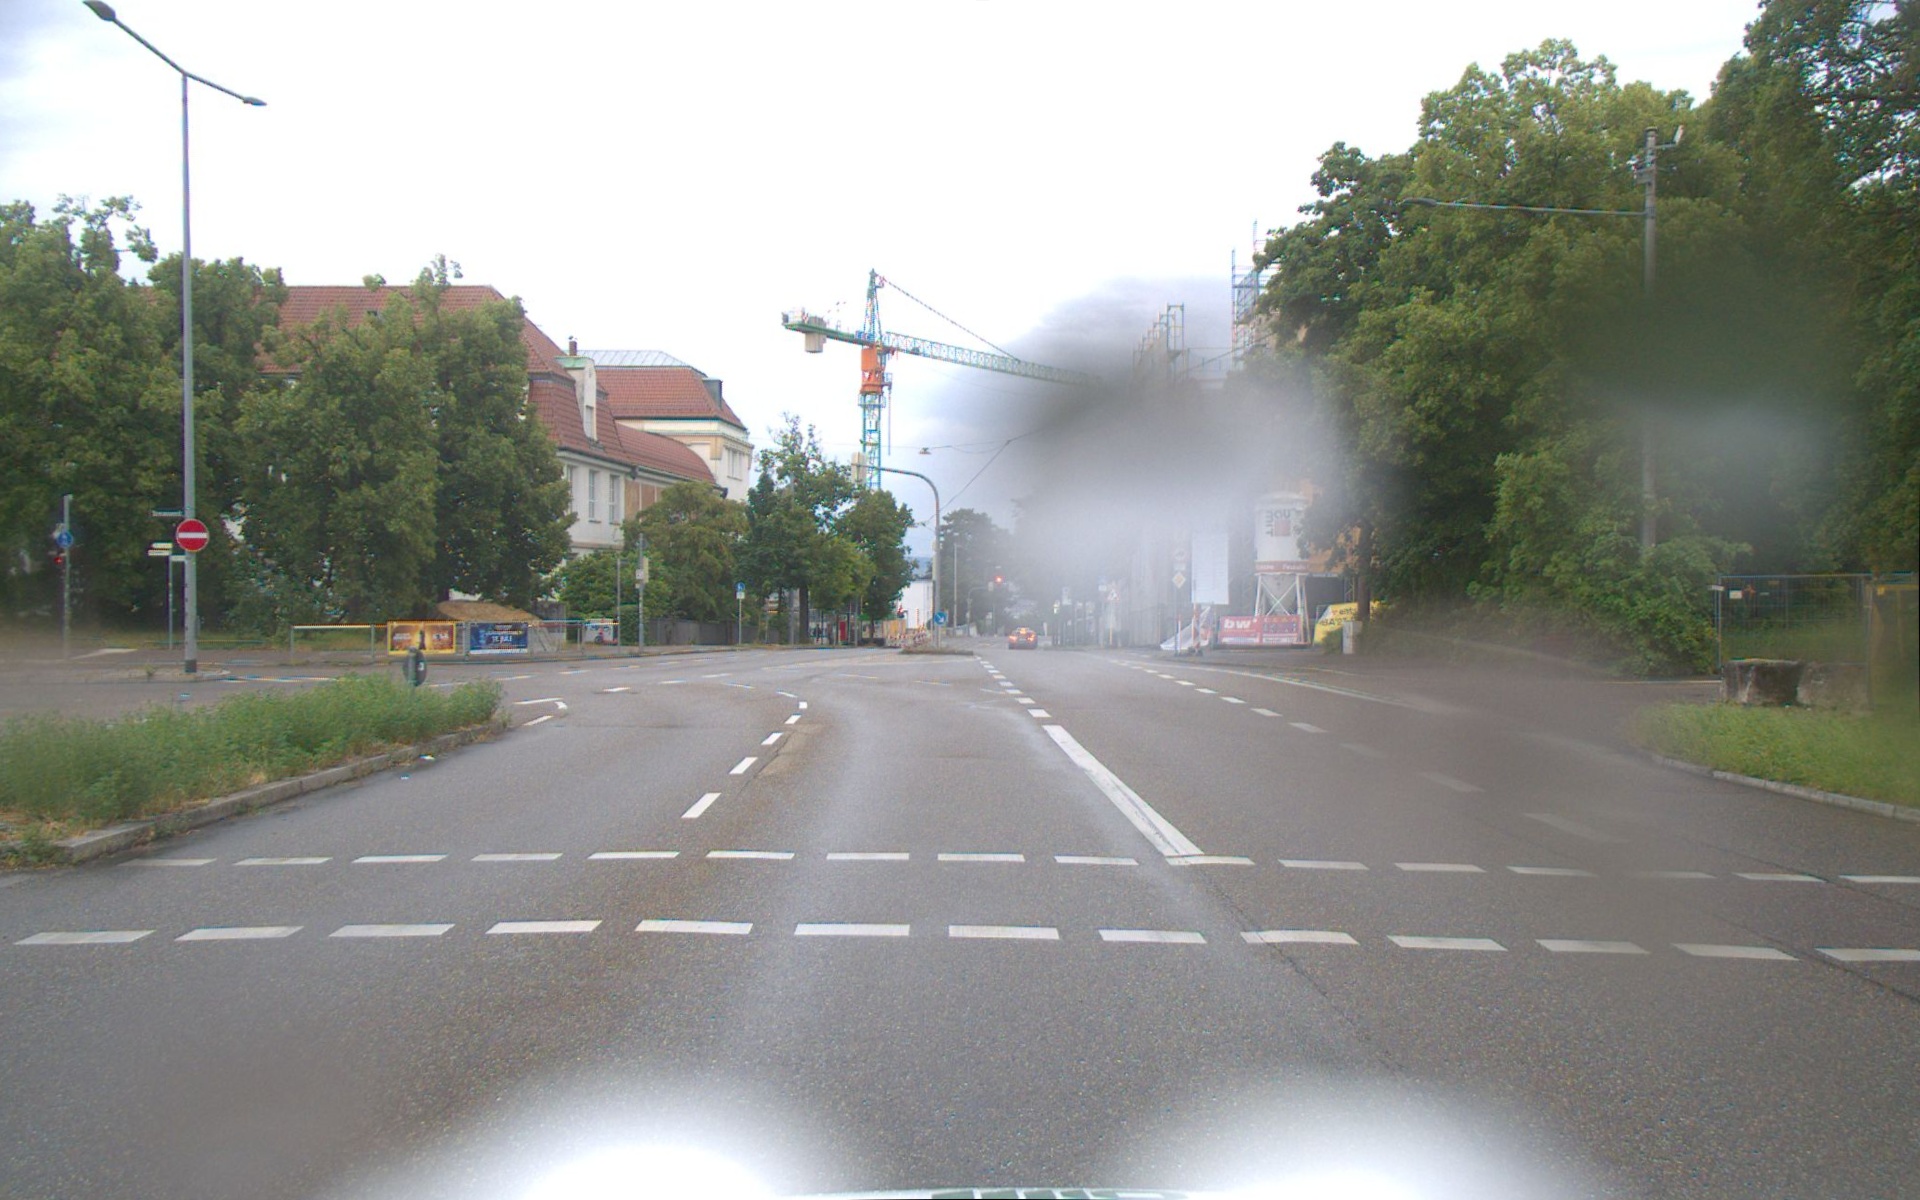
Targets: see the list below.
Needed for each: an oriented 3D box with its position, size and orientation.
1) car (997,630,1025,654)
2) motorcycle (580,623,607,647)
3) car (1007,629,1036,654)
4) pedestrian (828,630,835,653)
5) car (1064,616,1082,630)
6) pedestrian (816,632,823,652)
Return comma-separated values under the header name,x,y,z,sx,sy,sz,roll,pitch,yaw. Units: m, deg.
name,x,y,z,sx,sy,sz,roll,pitch,yaw
car,4.041,3.311,131.904,1.953,1.780,3.999,-1,0,-1
motorcycle,-14.276,1.361,64.436,0.832,0.893,0.877,1,0,-1
car,4.608,3.111,125.025,1.953,1.780,3.999,-1,0,-1
pedestrian,-9.599,3.073,123.285,0.484,1.674,0.533,1,-1,-7
car,14.988,3.102,219.511,1.951,1.780,4.003,-1,0,10
pedestrian,-10.491,3.140,123.289,0.465,1.421,0.411,-1,0,-1
